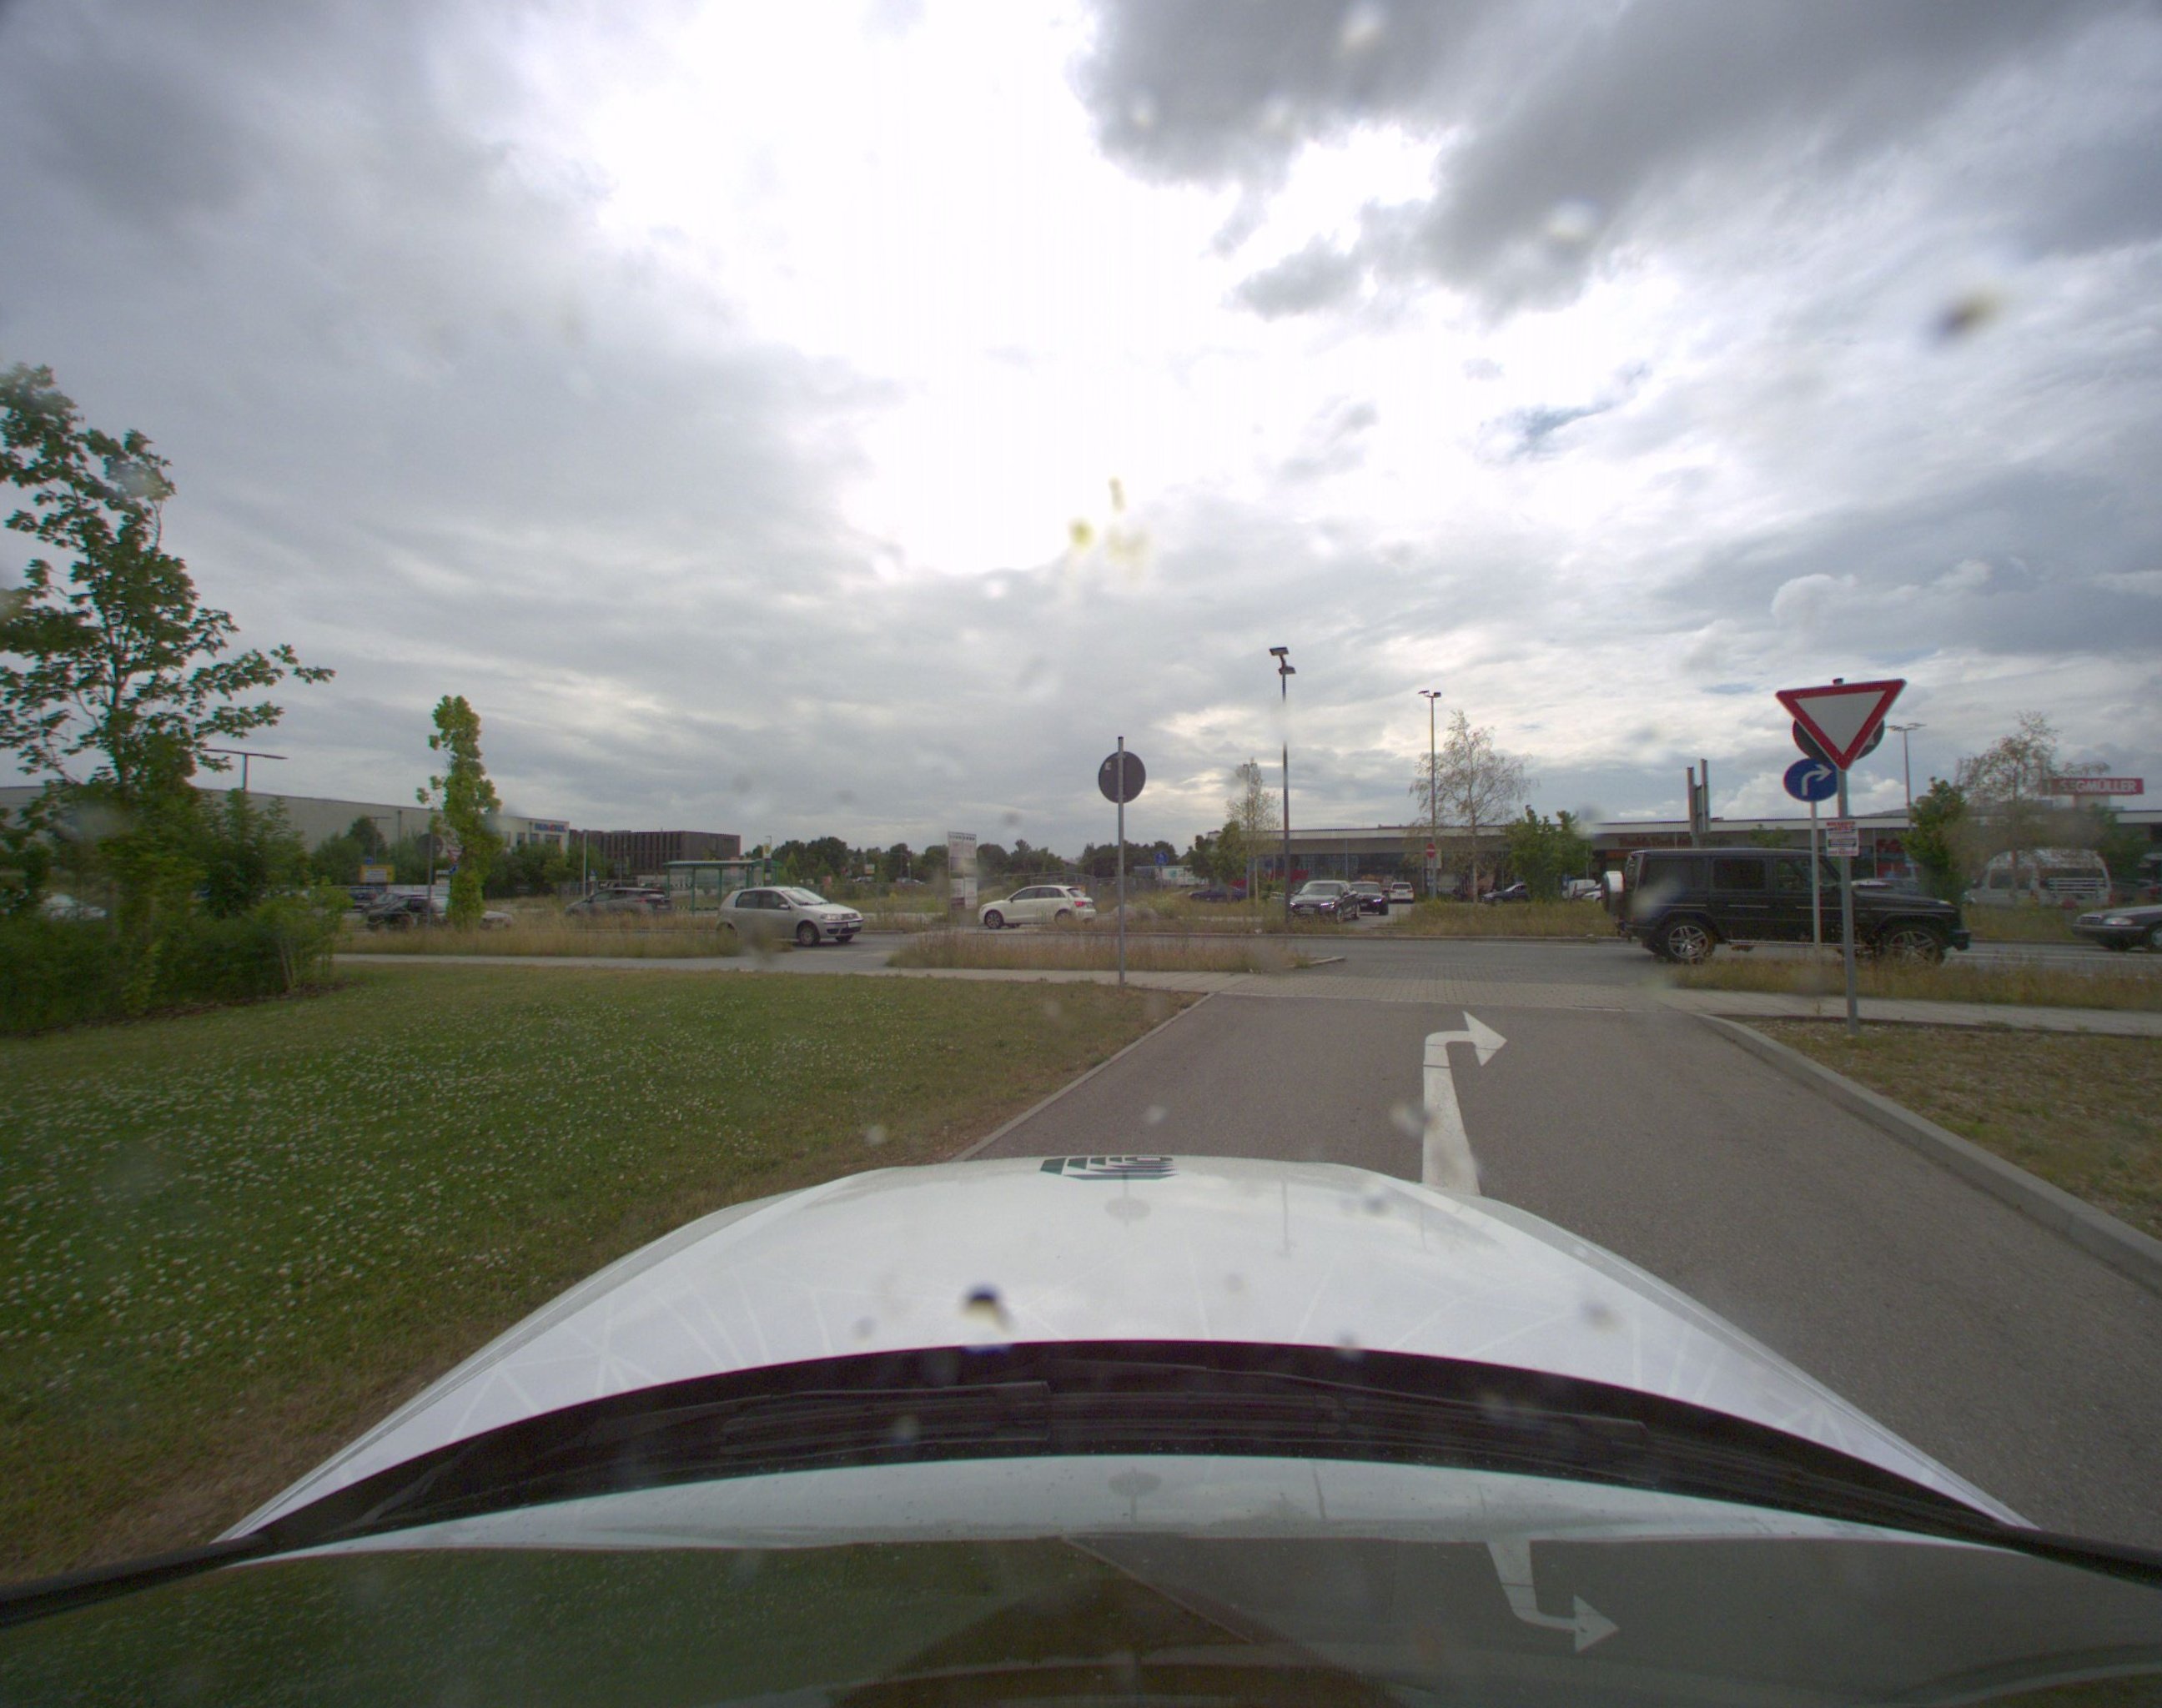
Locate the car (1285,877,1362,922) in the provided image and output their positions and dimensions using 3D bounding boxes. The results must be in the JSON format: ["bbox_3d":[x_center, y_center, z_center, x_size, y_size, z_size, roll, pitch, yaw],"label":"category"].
[{"bbox_3d":[8.576,1.545,28.561,1.775,1.467,4.346,-1,-2,28],"label":"car"}]

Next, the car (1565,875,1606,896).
[{"bbox_3d":[38.055,2.347,61.579,1.976,1.508,4.021,-1,-2,22],"label":"car"}]

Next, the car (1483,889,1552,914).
[{"bbox_3d":[27.289,2.943,51.051,3.577,1.454,1.675,0,-2,19],"label":"car"}]

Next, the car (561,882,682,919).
[{"bbox_3d":[-17.923,1.780,31.805,4.020,1.343,1.725,0,-2,16],"label":"car"}]

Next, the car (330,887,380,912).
[{"bbox_3d":[-41.783,2.605,46.842,3.914,1.343,1.728,-1,-3,43],"label":"car"}]

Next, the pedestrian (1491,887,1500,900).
[{"bbox_3d":[35.831,3.438,70.423,0.571,1.124,0.564,-1,-3,16],"label":"pedestrian"}]

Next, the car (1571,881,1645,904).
[{"bbox_3d":[33.801,2.457,52.370,3.715,1.454,1.676,0,-2,20],"label":"car"}]

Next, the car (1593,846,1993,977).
[{"bbox_3d":[11.721,0.870,13.951,4.787,1.924,2.011,0,-2,26],"label":"car"}]

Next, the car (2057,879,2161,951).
[{"bbox_3d":[22.802,1.210,15.956,4.316,1.396,1.801,-1,-4,28],"label":"car"}]

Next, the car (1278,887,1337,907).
[{"bbox_3d":[16.052,3.027,57.755,3.955,1.352,2.009,0,-3,17],"label":"car"}]

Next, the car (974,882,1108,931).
[{"bbox_3d":[-1.293,1.683,26.794,4.010,1.481,1.766,0,-3,18],"label":"car"}]

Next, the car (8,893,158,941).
[{"bbox_3d":[-35.213,2.172,28.753,4.352,1.563,1.829,-1,-1,18],"label":"car"}]

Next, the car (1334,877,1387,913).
[{"bbox_3d":[11.996,1.744,34.740,1.764,1.446,4.634,-1,-3,24],"label":"car"}]

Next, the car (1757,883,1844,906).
[{"bbox_3d":[48.950,2.741,55.485,3.953,1.508,2.010,0,-2,21],"label":"car"}]

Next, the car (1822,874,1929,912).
[{"bbox_3d":[32.040,1.574,33.007,1.970,1.451,4.174,0,-3,28],"label":"car"}]

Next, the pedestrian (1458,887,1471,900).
[{"bbox_3d":[34.221,3.496,72.688,0.963,1.155,1.138,-1,-2,18],"label":"pedestrian"}]

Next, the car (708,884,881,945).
[{"bbox_3d":[-7.257,1.492,20.768,3.774,1.461,1.808,-1,-2,16],"label":"car"}]

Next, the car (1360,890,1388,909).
[{"bbox_3d":[23.868,3.698,66.298,1.890,1.444,4.021,-1,-2,22],"label":"car"}]

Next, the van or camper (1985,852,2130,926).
[{"bbox_3d":[35.540,1.258,29.818,2.261,2.493,4.025,-1,-2,33],"label":"van or camper"}]

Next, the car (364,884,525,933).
[{"bbox_3d":[-19.353,1.626,24.786,4.253,1.387,1.767,-1,-2,18],"label":"car"}]

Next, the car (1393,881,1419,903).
[{"bbox_3d":[26.203,3.024,65.577,1.808,1.700,4.256,-1,-1,23],"label":"car"}]

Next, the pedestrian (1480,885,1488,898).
[{"bbox_3d":[35.509,3.285,71.800,0.571,1.124,0.564,-1,-3,16],"label":"pedestrian"}]

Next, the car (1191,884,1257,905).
[{"bbox_3d":[11.480,3.216,65.346,4.970,1.558,2.008,0,-3,16],"label":"car"}]

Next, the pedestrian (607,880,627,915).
[{"bbox_3d":[-23.487,2.200,41.225,0.747,1.722,0.643,3,-3,-37],"label":"pedestrian"}]
